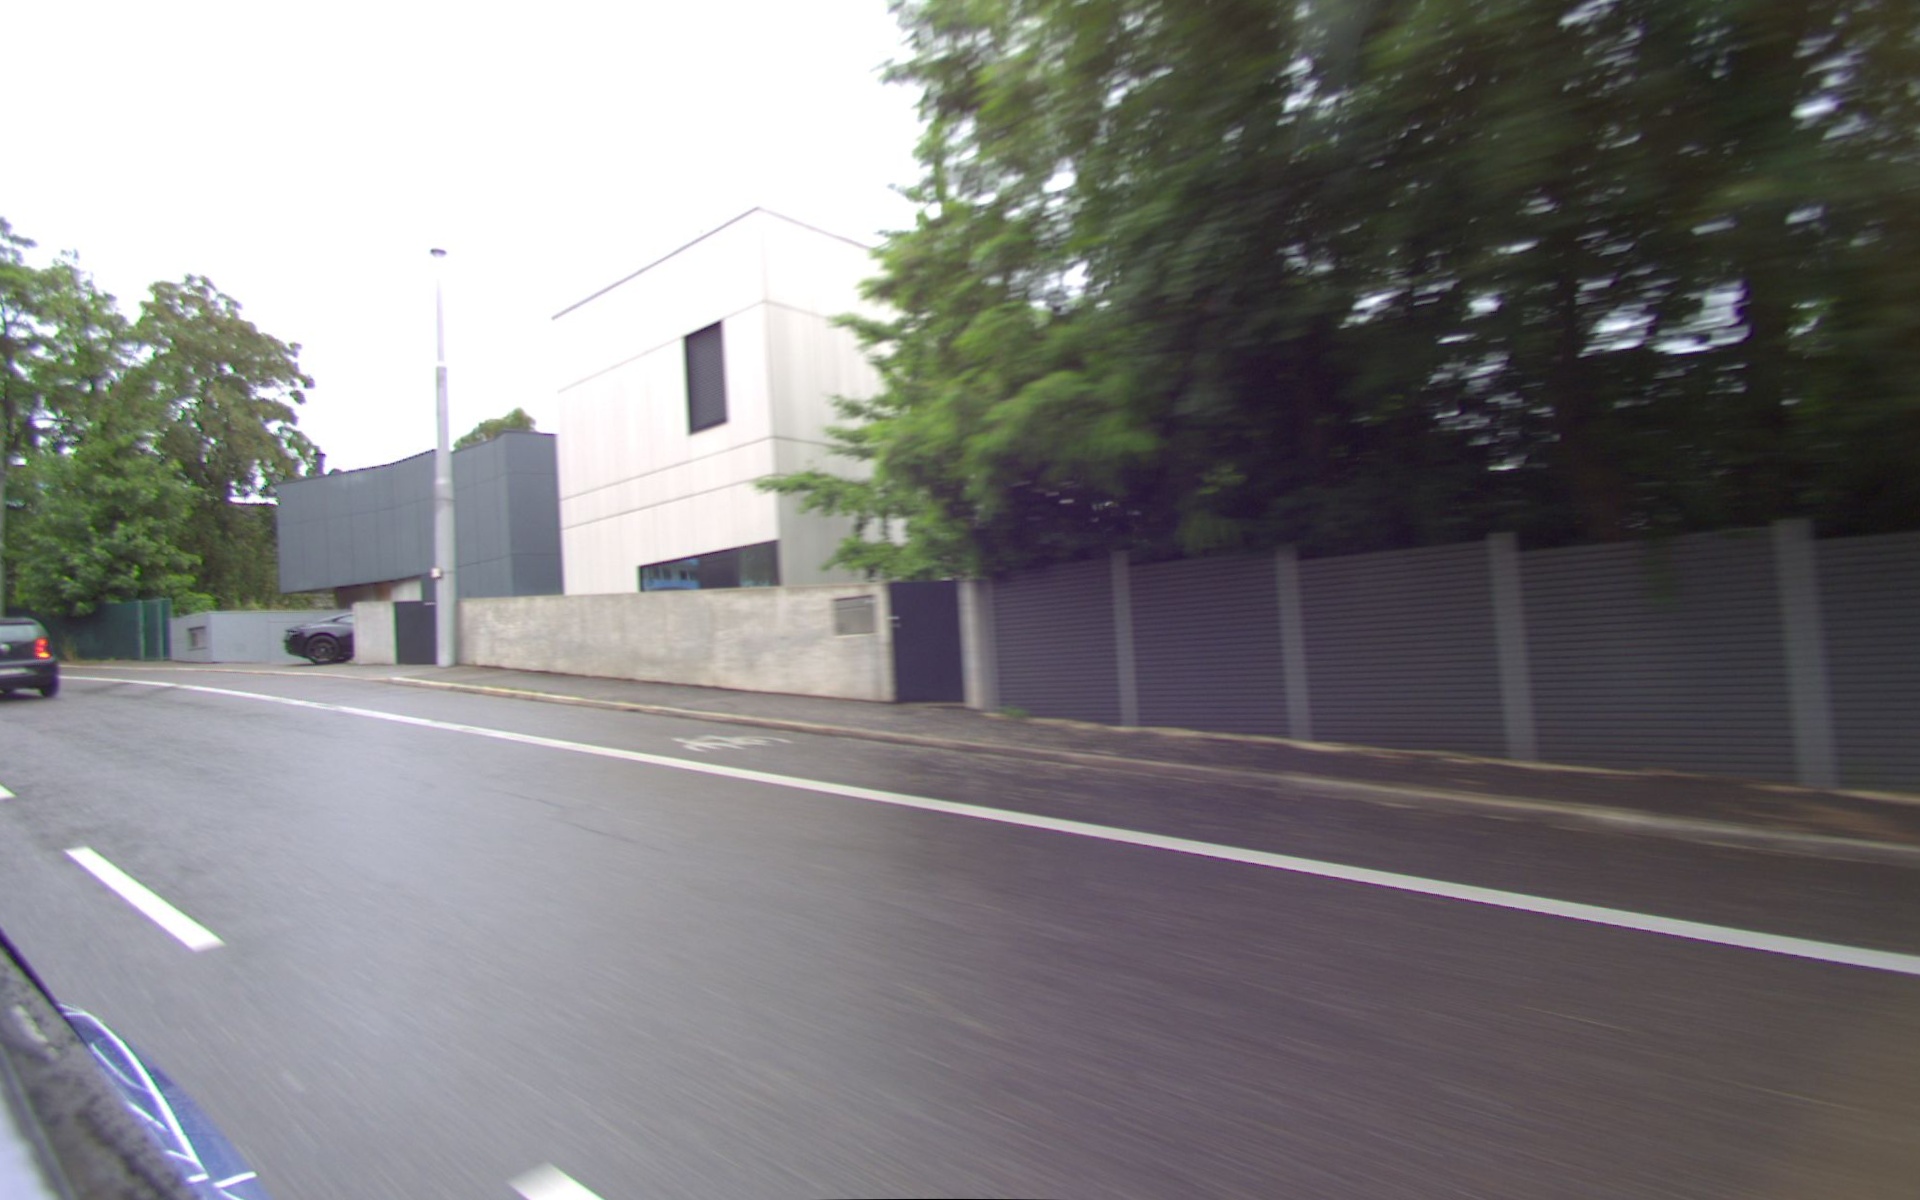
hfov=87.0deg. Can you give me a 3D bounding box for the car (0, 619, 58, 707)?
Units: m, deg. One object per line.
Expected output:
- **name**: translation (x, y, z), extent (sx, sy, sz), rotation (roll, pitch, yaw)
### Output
- **car**: translation (-18.227, 1.141, 18.632), extent (3.795, 1.430, 1.635), rotation (0, 3, 36)

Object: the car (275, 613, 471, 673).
- **car**: translation (-14.678, 1.046, 25.560), extent (3.932, 1.311, 1.903), rotation (-1, -1, -16)
